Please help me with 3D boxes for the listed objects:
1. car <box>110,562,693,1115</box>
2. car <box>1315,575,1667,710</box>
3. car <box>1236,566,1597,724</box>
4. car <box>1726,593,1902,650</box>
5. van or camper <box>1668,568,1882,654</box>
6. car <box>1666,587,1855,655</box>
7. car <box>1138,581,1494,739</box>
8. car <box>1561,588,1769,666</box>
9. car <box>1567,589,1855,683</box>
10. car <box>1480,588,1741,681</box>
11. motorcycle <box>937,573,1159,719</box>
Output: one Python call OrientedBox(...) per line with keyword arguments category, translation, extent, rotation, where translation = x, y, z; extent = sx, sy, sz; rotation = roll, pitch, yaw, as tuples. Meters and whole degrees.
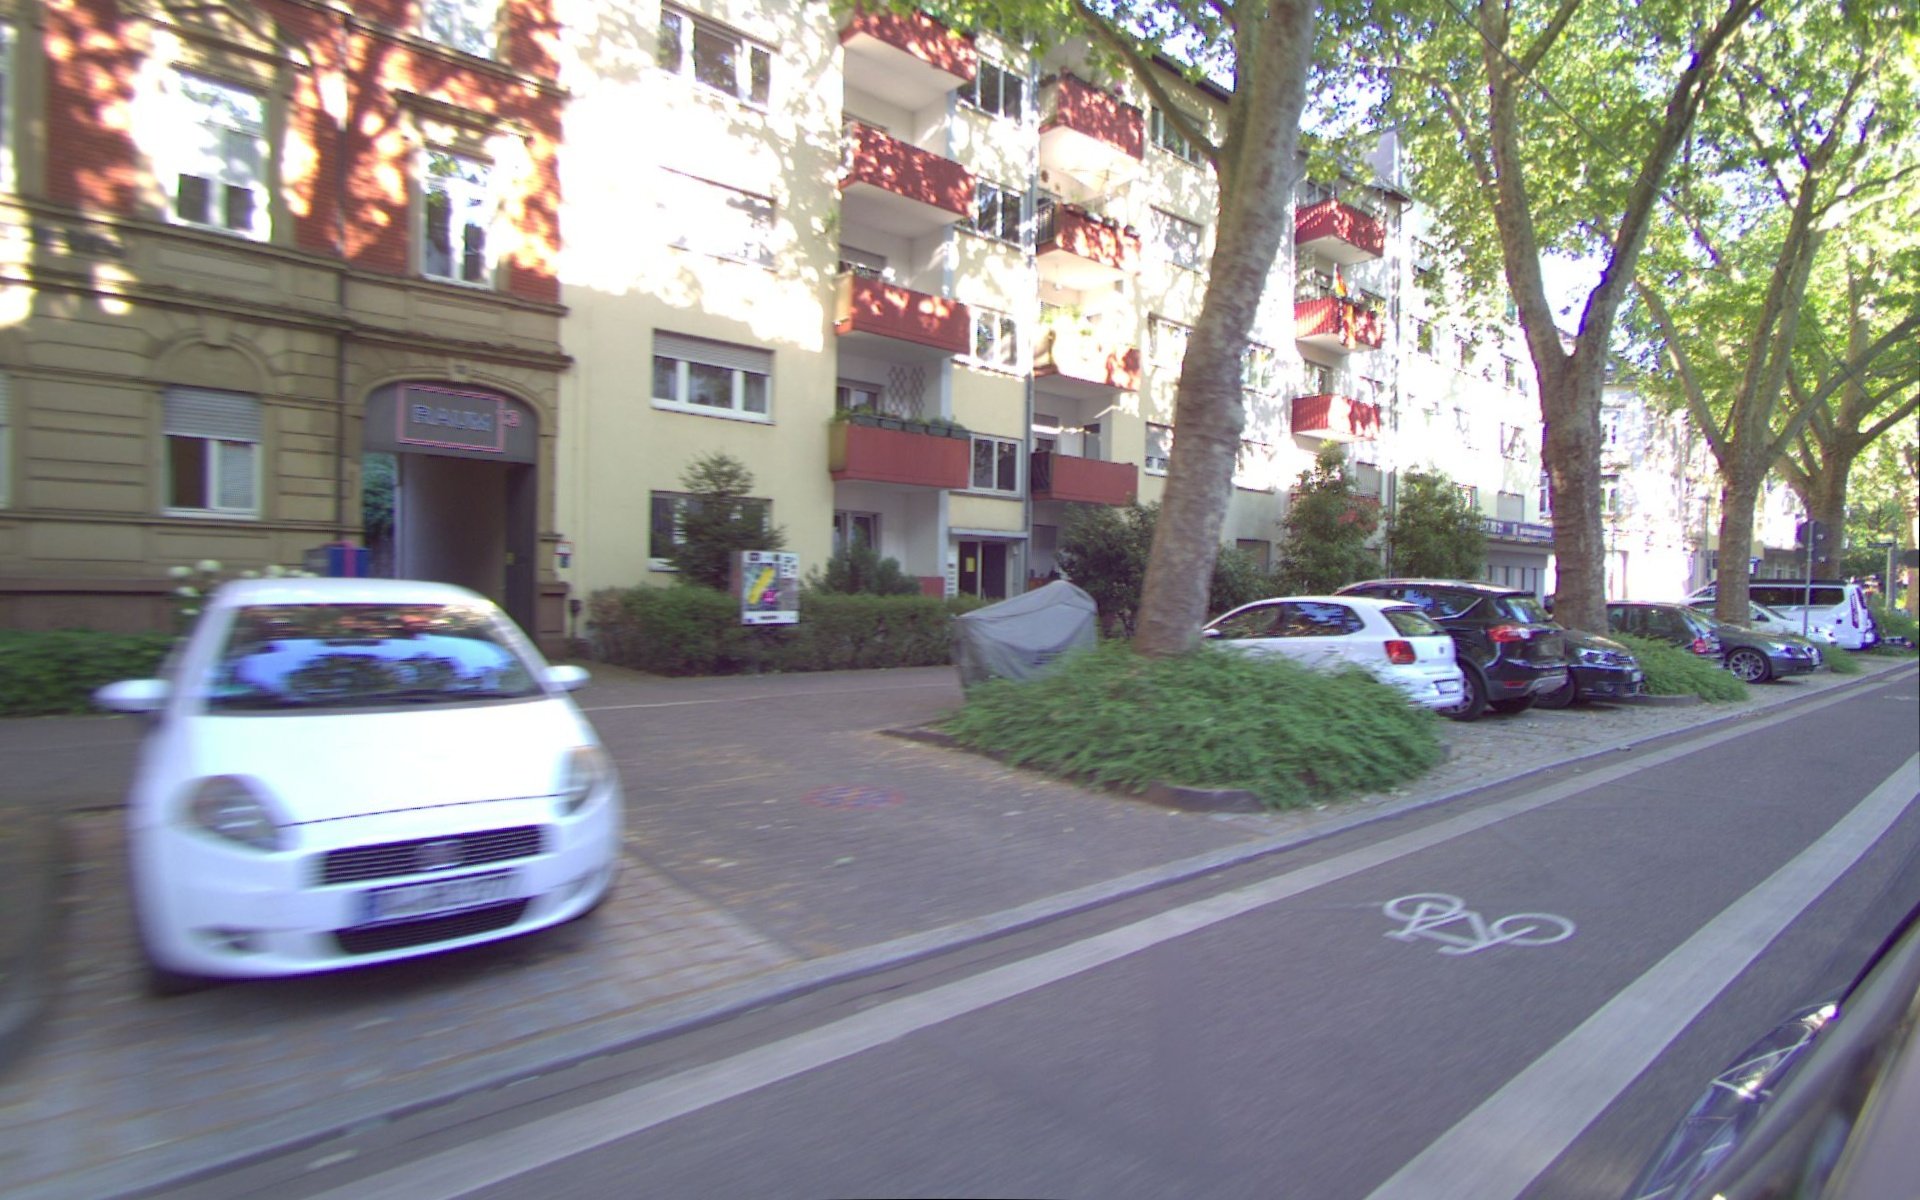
OrientedBox(category="car", translation=(-2.951, 0.601, 4.849), extent=(1.659, 1.498, 3.961), rotation=(0, 2, -41))
OrientedBox(category="car", translation=(7.684, 0.499, 14.985), extent=(1.713, 1.673, 4.296), rotation=(0, 1, -43))
OrientedBox(category="car", translation=(5.891, 0.455, 13.448), extent=(1.773, 1.766, 4.002), rotation=(1, 1, -40))
OrientedBox(category="car", translation=(24.383, 0.557, 28.992), extent=(1.694, 1.457, 3.573), rotation=(0, 1, -37))
OrientedBox(category="van or camper", translation=(22.281, 0.215, 27.796), extent=(1.808, 2.136, 4.381), rotation=(0, 2, -43))
OrientedBox(category="car", translation=(20.452, 0.483, 25.936), extent=(1.649, 1.550, 3.568), rotation=(0, 1, -42))
OrientedBox(category="car", translation=(4.038, 0.566, 11.886), extent=(1.632, 1.514, 3.614), rotation=(0, 1, -42))
OrientedBox(category="car", translation=(15.560, 0.529, 22.458), extent=(1.615, 1.500, 3.481), rotation=(0, 2, -40))
OrientedBox(category="car", translation=(14.644, 0.608, 19.935), extent=(1.877, 1.500, 4.206), rotation=(0, 2, -39))
OrientedBox(category="car", translation=(12.138, 0.556, 19.056), extent=(1.672, 1.461, 3.830), rotation=(0, 2, -43))
OrientedBox(category="motorcycle", translation=(1.076, 0.458, 11.649), extent=(2.769, 1.497, 0.841), rotation=(0, 1, -41))
